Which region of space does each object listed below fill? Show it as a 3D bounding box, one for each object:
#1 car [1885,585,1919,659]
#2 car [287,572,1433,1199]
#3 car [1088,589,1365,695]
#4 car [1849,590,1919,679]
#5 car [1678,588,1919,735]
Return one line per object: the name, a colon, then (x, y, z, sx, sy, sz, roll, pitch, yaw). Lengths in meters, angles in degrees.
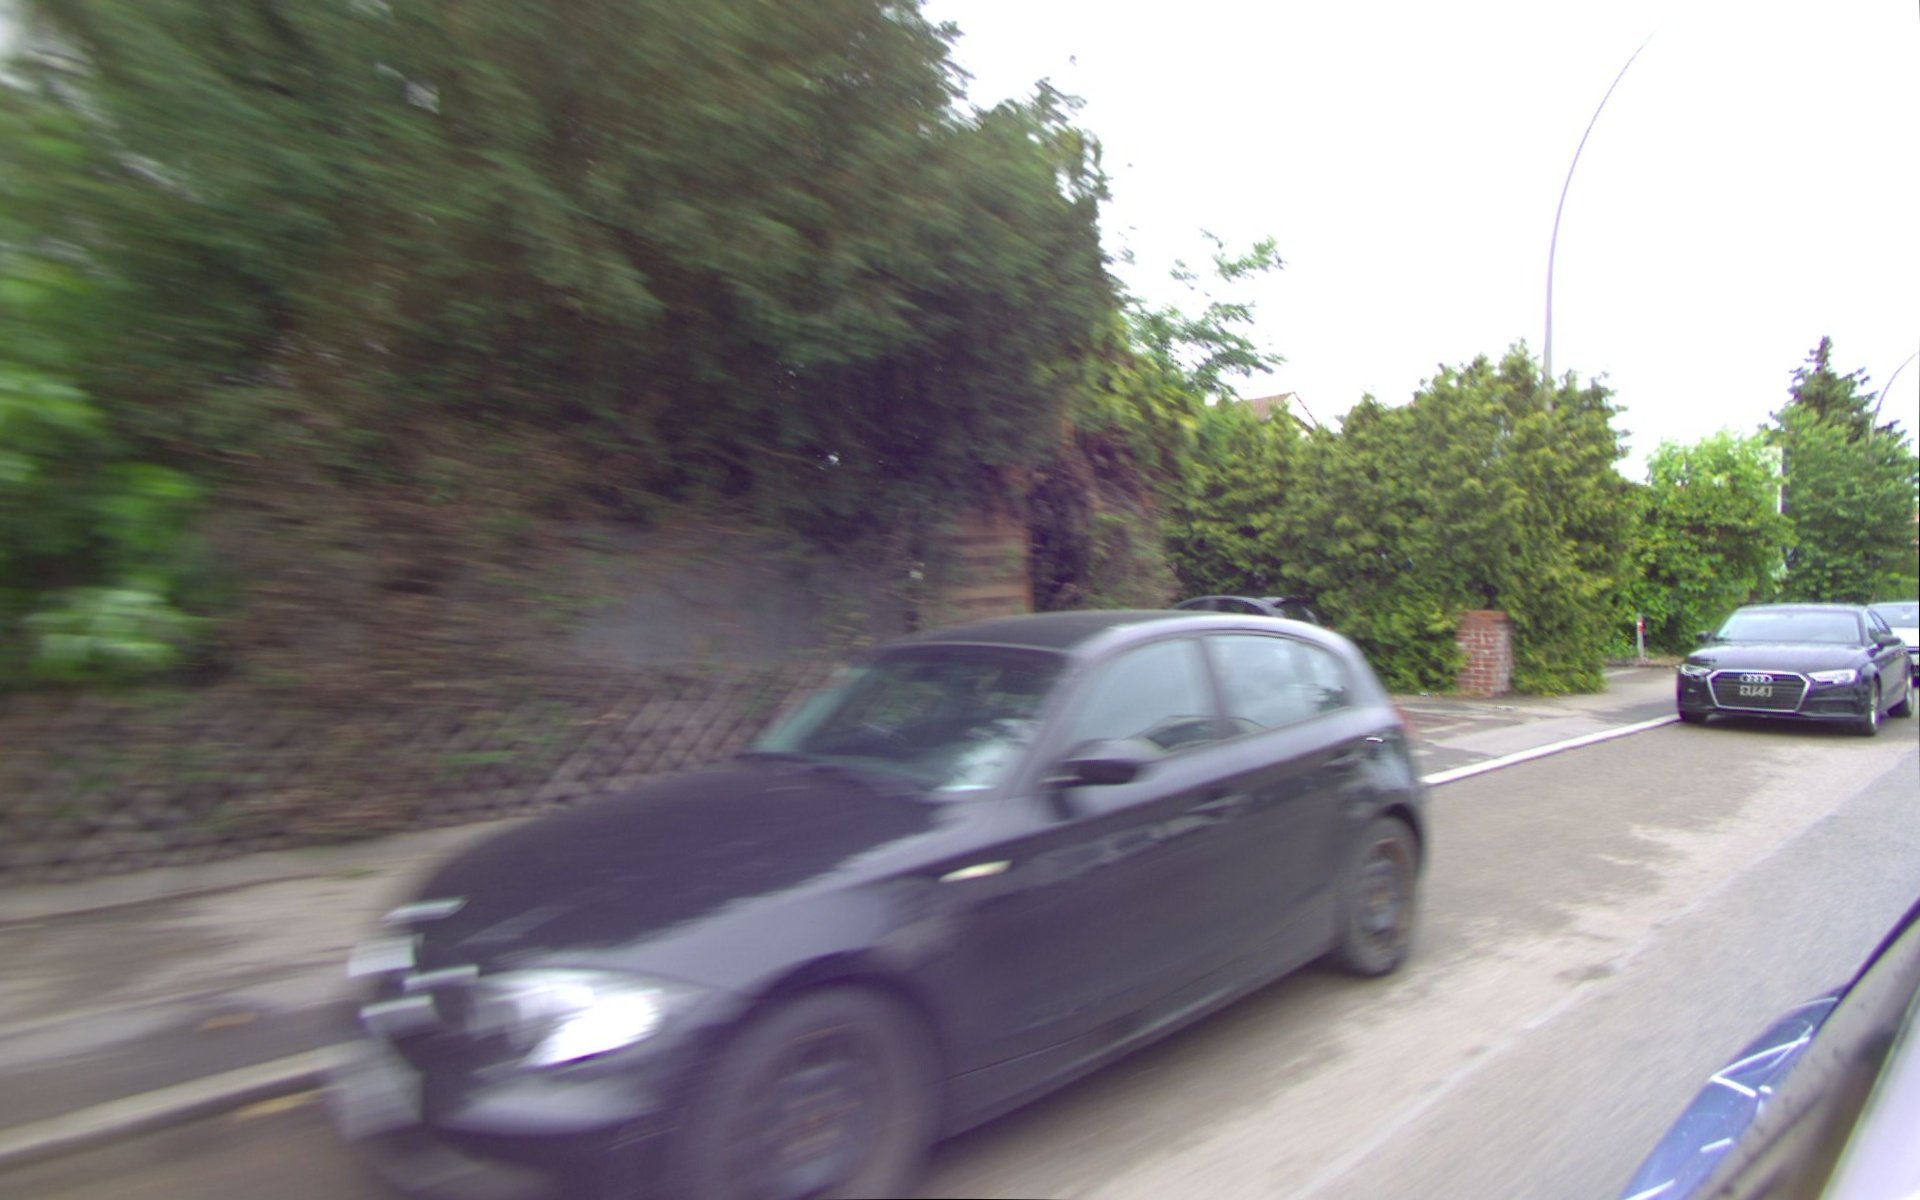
car: (20.891, 0.436, 21.201, 4.406, 1.458, 1.765, 0, 2, -41)
car: (-0.066, 0.663, 3.534, 3.653, 1.421, 1.740, 0, -1, -40)
car: (4.045, 0.635, 15.906, 1.669, 1.448, 3.995, 0, -2, -38)
car: (17.335, 0.566, 18.155, 3.974, 1.458, 1.655, 0, 2, -42)
car: (10.277, 0.597, 12.141, 4.037, 1.436, 1.755, 0, 2, -40)
